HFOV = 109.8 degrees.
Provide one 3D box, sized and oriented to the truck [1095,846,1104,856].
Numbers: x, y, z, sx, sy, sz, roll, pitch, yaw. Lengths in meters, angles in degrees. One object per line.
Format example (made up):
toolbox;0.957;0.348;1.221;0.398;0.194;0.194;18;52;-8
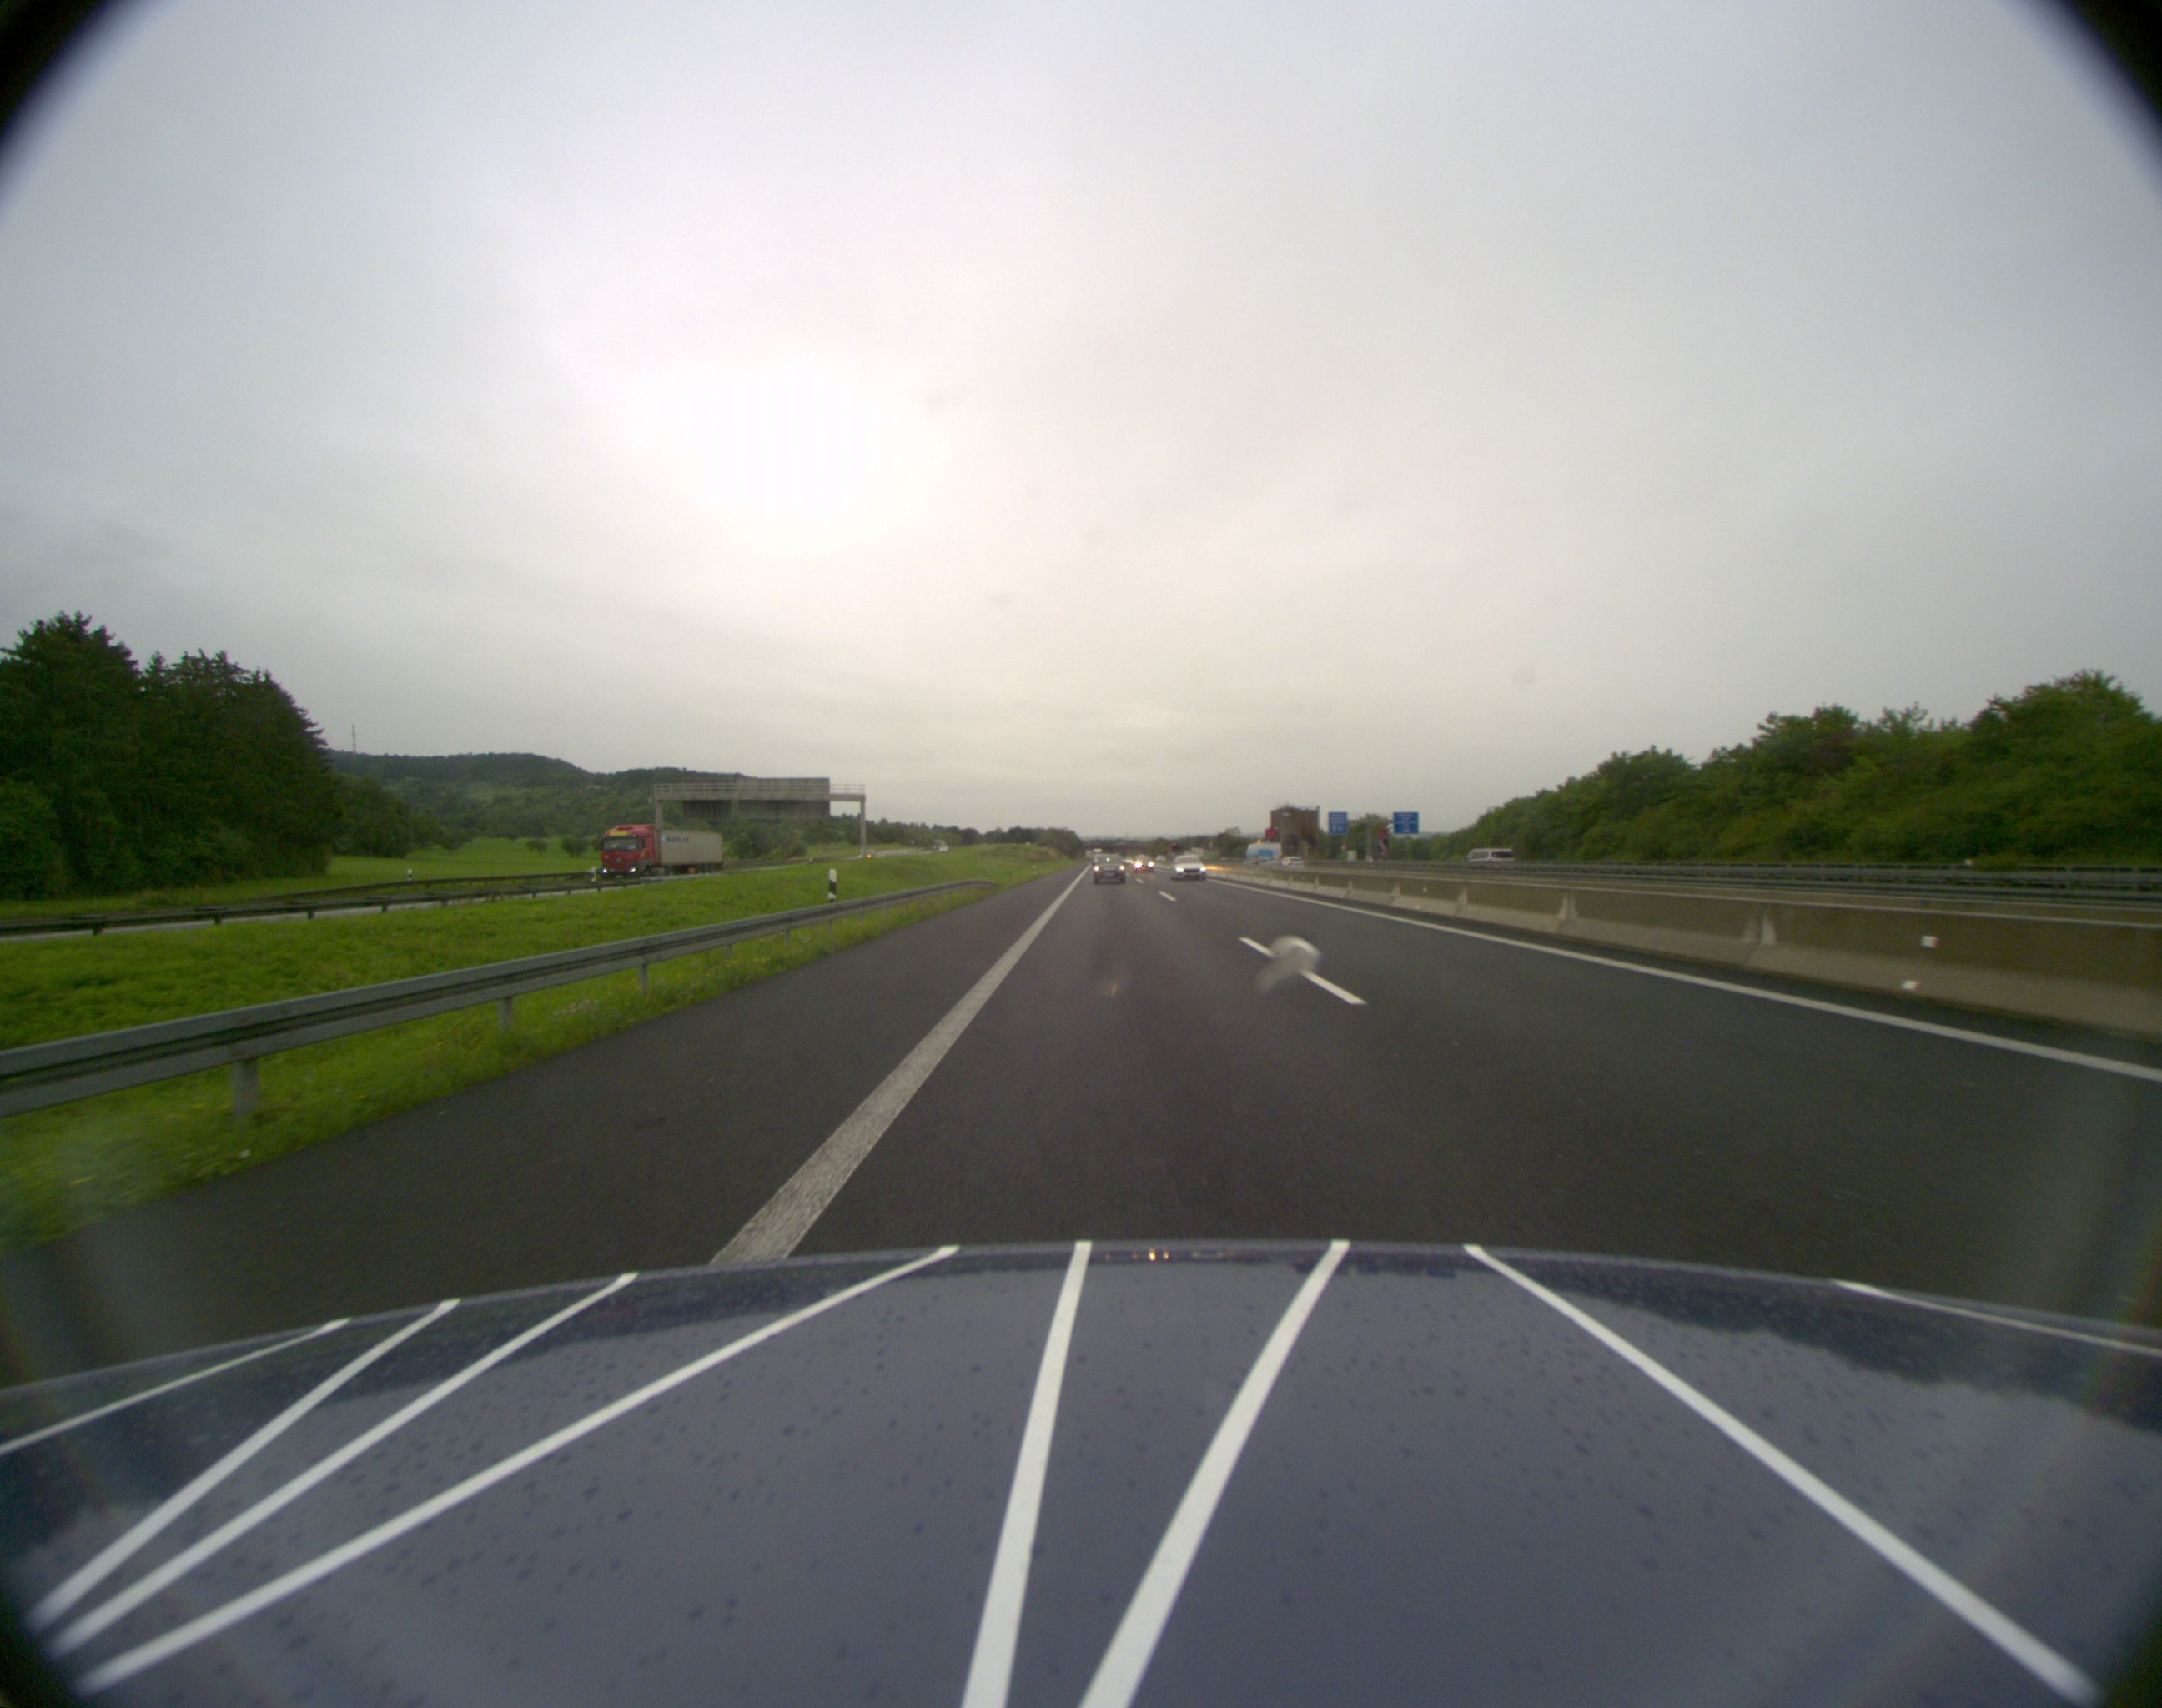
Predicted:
truck;5.958;-0.823;246.905;2.728;3.098;7.961;-3;0;2

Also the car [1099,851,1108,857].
car;5.516;0.126;186.668;1.941;1.341;4.001;-3;0;2

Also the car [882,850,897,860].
car;-32.557;0.125;129.109;2.000;1.710;4.315;-1;0;-9

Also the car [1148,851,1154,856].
car;23.330;-0.130;252.851;1.728;1.543;4.582;-2;0;1

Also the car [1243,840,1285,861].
car;15.303;-0.296;63.893;2.363;1.683;5.907;-1;0;3

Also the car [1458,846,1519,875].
car;30.187;0.444;56.419;1.998;2.002;4.715;-2;0;0

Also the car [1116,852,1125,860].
car;8.731;0.469;168.152;1.998;1.565;4.000;-2;0;2

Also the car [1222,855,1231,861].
car;33.876;1.004;176.977;1.526;1.390;4.000;-1;0;2

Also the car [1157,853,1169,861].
car;17.485;0.599;162.882;2.161;1.755;4.960;-1;0;2

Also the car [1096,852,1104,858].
car;4.548;0.212;180.499;1.941;1.341;4.001;-3;0;2

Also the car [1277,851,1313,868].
car;19.444;0.468;69.262;1.998;1.427;4.679;-2;0;1

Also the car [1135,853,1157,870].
car;5.919;0.673;69.584;1.834;1.417;4.368;-2;0;3

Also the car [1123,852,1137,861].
car;8.122;0.454;126.457;1.942;1.341;4.000;-3;0;1

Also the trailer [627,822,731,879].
trailer;-31.616;-0.293;60.595;2.498;3.961;12.399;-2;0;-5

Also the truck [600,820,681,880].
truck;-31.047;-0.273;53.815;2.515;3.963;5.925;-2;1;-5

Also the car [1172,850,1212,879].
car;6.705;0.603;46.321;1.998;1.582;4.818;-2;0;4

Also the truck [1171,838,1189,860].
truck;22.327;-1.071;172.007;3.407;4.705;10.487;-2;0;4

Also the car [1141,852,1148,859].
car;19.227;0.456;230.406;1.998;1.852;5.221;0;0;1

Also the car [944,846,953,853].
car;-37.391;-1.308;214.489;1.999;2.002;3.999;-1;0;-3

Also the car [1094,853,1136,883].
car;1.985;0.752;44.259;2.242;1.565;4.817;-1;0;3

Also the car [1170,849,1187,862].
car;15.523;0.228;121.117;1.998;1.825;4.679;-2;0;0
